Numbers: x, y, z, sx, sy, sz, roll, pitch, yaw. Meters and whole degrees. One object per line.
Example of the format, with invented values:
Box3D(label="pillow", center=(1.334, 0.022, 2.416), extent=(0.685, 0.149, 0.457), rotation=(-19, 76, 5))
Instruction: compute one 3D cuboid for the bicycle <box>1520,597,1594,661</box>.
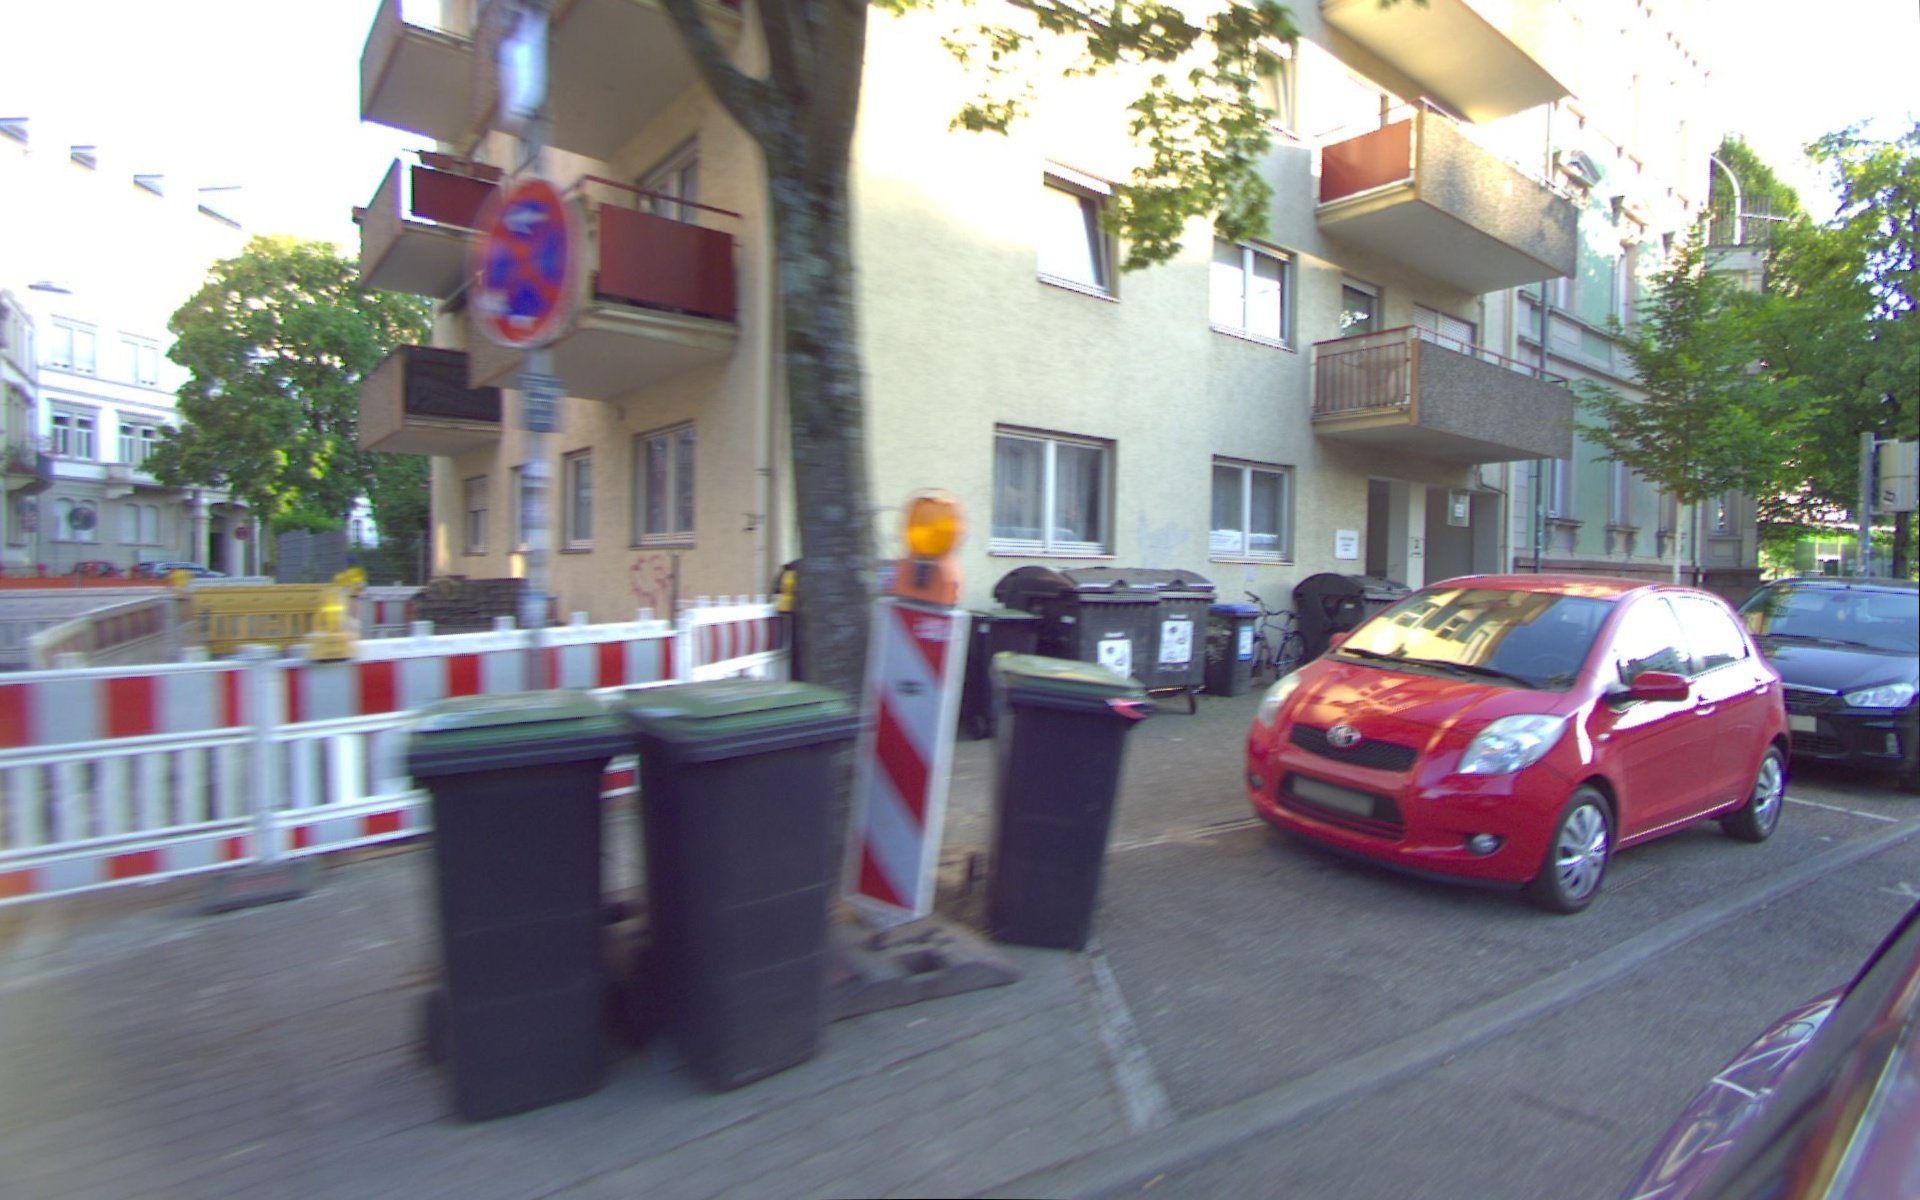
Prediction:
Box3D(label="bicycle", center=(10.752, 0.499, 18.211), extent=(1.528, 1.088, 0.652), rotation=(0, 1, -40))

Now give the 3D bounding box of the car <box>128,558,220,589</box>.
Box3D(label="car", center=(-39.311, -1.351, 50.746), extent=(1.503, 1.438, 4.242), rotation=(1, 2, -3))

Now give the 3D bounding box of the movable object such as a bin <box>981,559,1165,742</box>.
Box3D(label="movable object such as a bin", center=(1.030, 0.403, 9.213), extent=(1.296, 1.520, 1.074), rotation=(0, 1, -41))

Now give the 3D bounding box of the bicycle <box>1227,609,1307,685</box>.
Box3D(label="bicycle", center=(3.810, 0.561, 12.532), extent=(1.205, 0.875, 0.413), rotation=(0, 1, -45))

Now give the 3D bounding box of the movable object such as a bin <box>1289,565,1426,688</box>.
Box3D(label="movable object such as a bin", center=(5.250, 0.309, 13.362), extent=(1.455, 1.520, 1.116), rotation=(0, 1, -39))

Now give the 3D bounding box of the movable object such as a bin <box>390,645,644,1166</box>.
Box3D(label="movable object such as a bin", center=(-1.261, 0.742, 2.869), extent=(0.576, 1.168, 0.797), rotation=(0, 1, -26))

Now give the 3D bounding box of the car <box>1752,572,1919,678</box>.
Box3D(label="car", center=(16.512, 0.411, 17.428), extent=(4.161, 1.746, 1.709), rotation=(1, 1, 23))

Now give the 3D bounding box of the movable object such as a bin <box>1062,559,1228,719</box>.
Box3D(label="movable object such as a bin", center=(1.905, 0.358, 10.450), extent=(1.248, 1.520, 1.143), rotation=(0, 1, -39))

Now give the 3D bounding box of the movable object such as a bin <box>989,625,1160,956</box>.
Box3D(label="movable object such as a bin", center=(0.442, 0.704, 4.071), extent=(0.612, 1.168, 0.715), rotation=(1, 1, 4))

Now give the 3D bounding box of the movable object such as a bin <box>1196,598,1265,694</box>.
Box3D(label="movable object such as a bin", center=(3.151, 0.519, 11.781), extent=(0.561, 1.060, 0.555), rotation=(0, 1, -40))

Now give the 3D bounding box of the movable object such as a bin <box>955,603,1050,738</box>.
Box3D(label="movable object such as a bin", center=(0.356, 0.565, 8.495), extent=(0.561, 1.060, 0.555), rotation=(0, 1, -40))

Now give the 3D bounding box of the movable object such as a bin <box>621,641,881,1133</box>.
Box3D(label="movable object such as a bin", center=(-0.635, 0.729, 2.953), extent=(0.576, 1.168, 0.716), rotation=(0, 1, -27))

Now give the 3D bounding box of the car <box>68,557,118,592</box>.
Box3D(label="car", center=(-37.846, -1.121, 44.242), extent=(1.505, 1.438, 3.695), rotation=(0, 2, -38))

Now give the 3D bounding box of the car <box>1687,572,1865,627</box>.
Box3D(label="car", center=(25.774, -0.056, 32.126), extent=(1.766, 1.593, 4.004), rotation=(1, 1, -26))

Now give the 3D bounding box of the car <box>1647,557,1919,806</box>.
Box3D(label="car", center=(7.735, 0.516, 8.683), extent=(4.012, 1.651, 1.749), rotation=(0, 4, -36))

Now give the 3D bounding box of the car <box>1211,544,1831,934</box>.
Box3D(label="car", center=(3.293, 0.521, 5.751), extent=(3.622, 1.554, 1.571), rotation=(0, 3, -34))

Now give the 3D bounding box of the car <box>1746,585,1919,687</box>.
Box3D(label="car", center=(14.813, 0.533, 15.413), extent=(4.160, 1.472, 1.634), rotation=(1, 1, 22))

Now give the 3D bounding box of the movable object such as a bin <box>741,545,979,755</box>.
Box3D(label="movable object such as a bin", center=(-0.814, 0.345, 8.282), extent=(1.569, 1.520, 1.143), rotation=(0, 1, -39))
